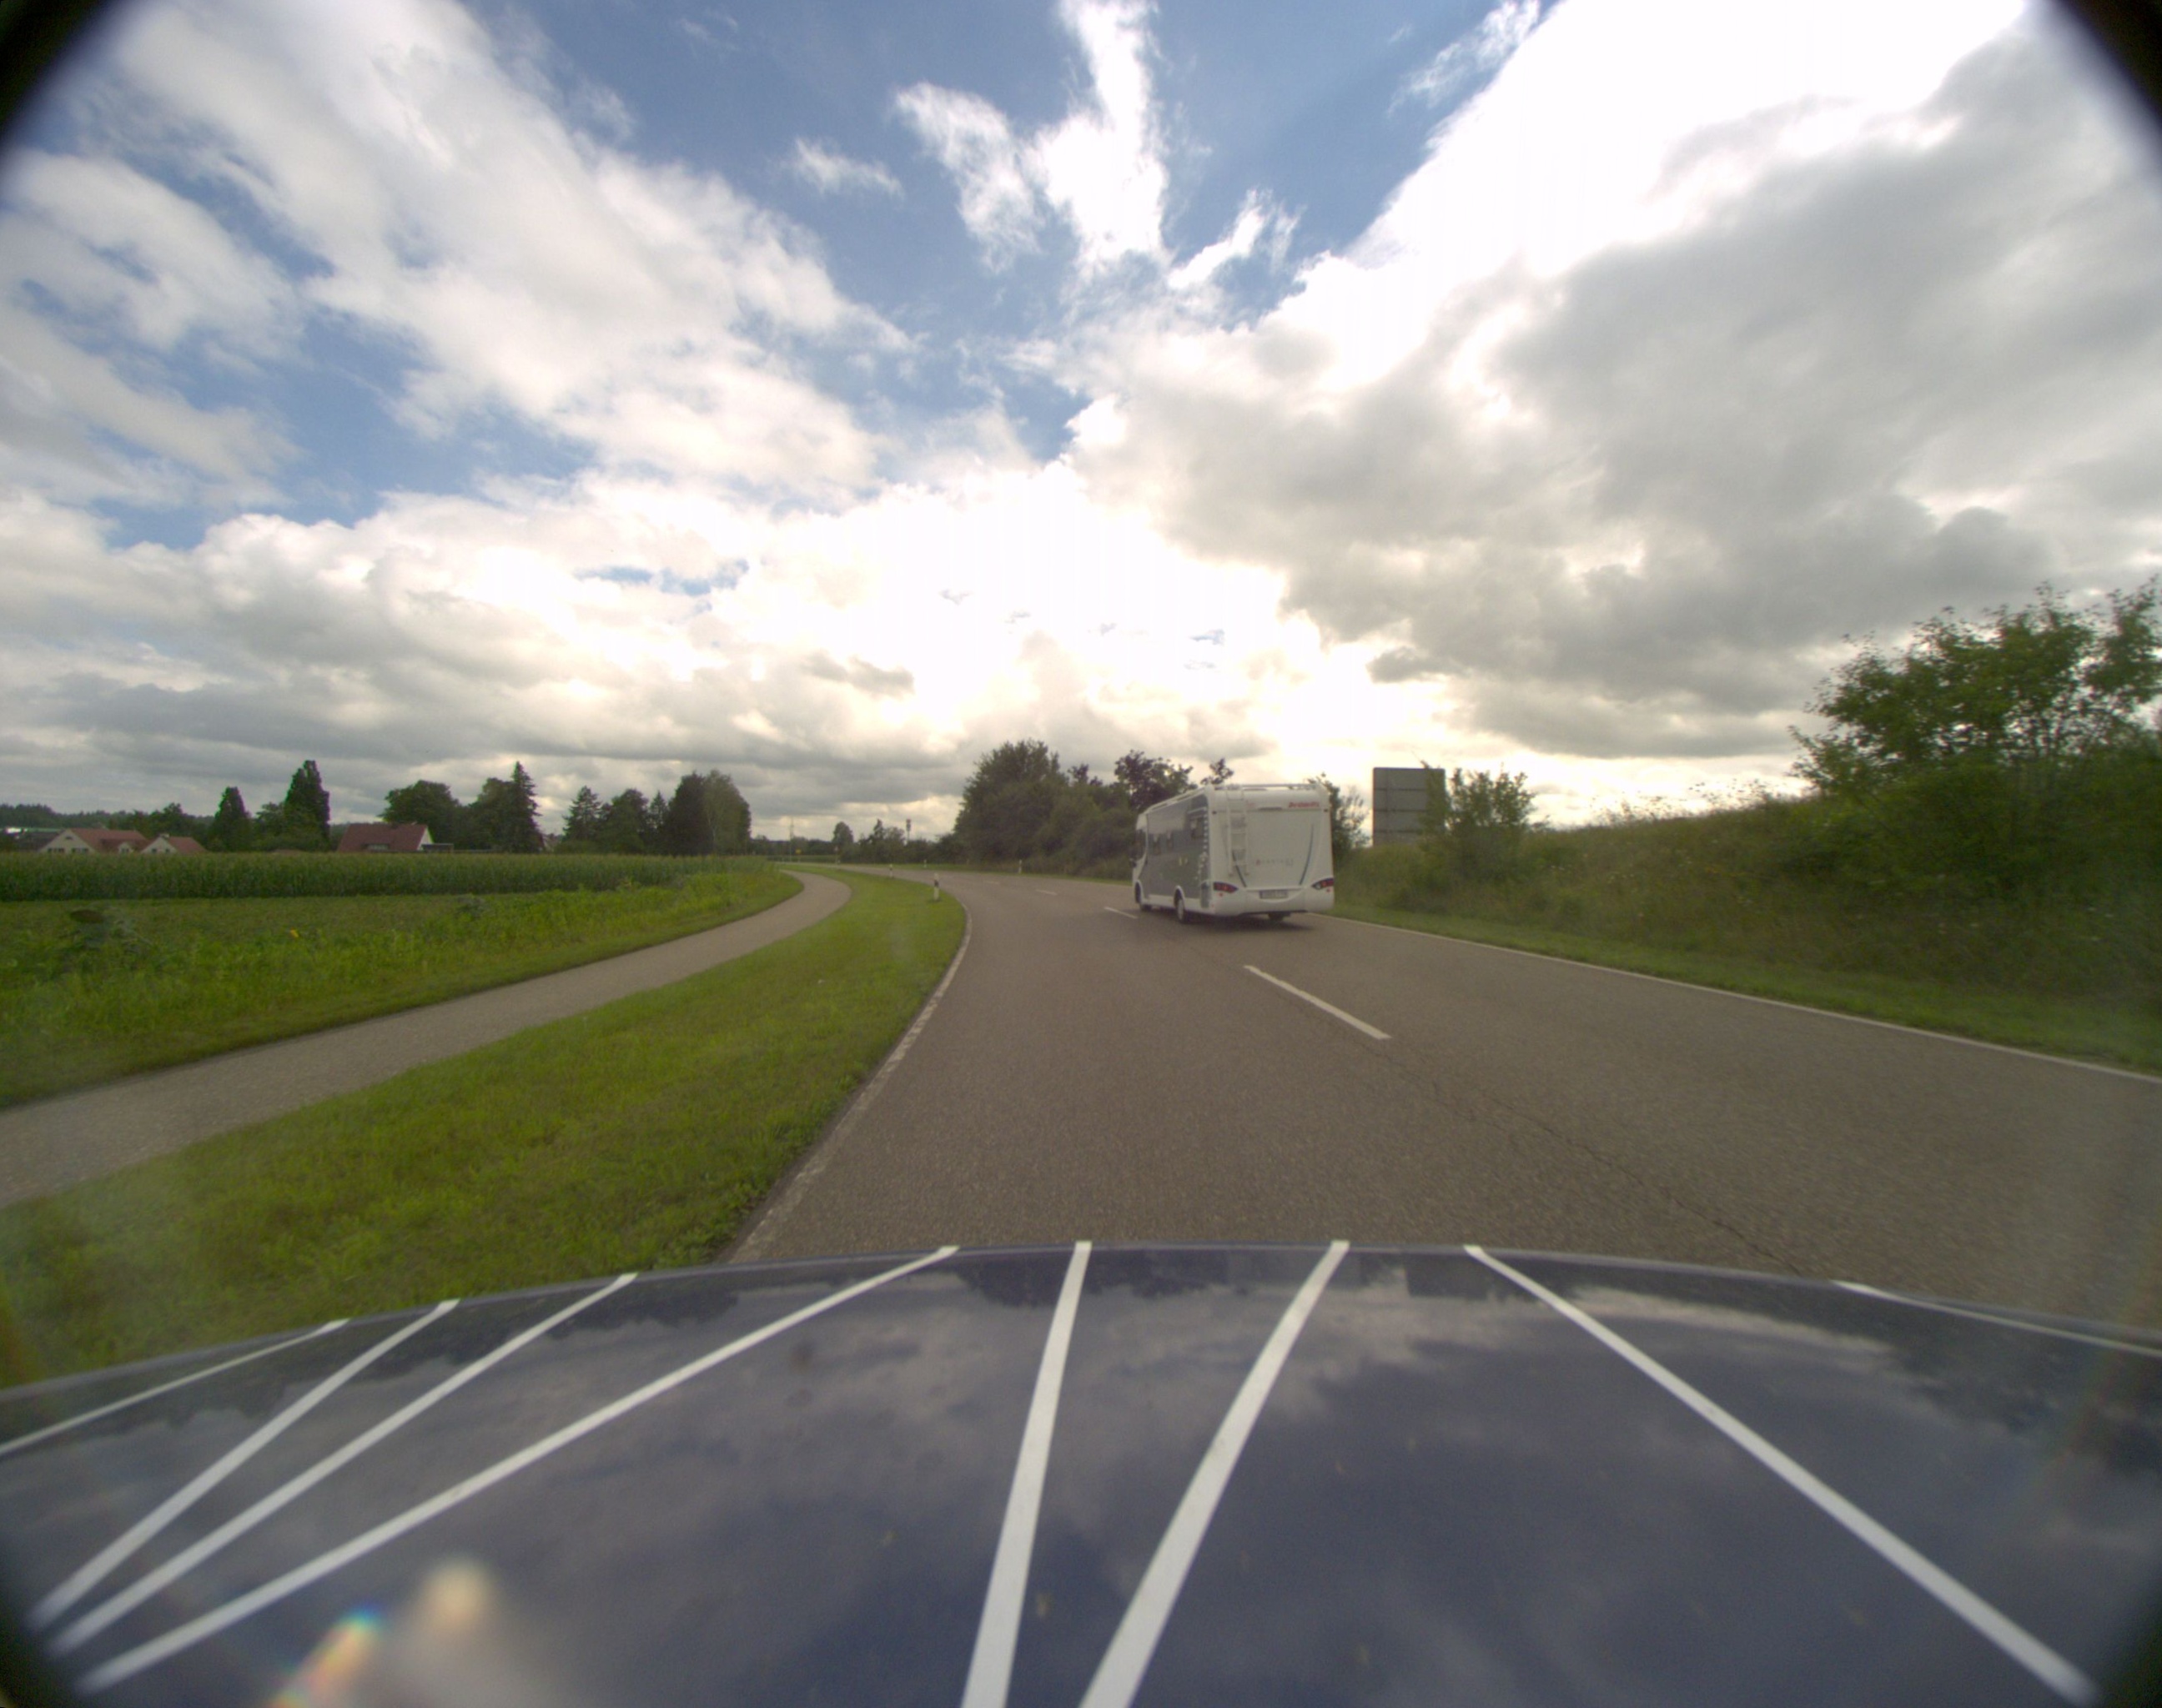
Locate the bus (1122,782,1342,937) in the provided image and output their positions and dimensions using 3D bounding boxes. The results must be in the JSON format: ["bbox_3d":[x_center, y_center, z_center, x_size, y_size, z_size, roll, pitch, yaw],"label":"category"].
[{"bbox_3d":[2.921,0.059,17.575,2.483,2.695,8.424,-1,0,-7],"label":"bus"}]
